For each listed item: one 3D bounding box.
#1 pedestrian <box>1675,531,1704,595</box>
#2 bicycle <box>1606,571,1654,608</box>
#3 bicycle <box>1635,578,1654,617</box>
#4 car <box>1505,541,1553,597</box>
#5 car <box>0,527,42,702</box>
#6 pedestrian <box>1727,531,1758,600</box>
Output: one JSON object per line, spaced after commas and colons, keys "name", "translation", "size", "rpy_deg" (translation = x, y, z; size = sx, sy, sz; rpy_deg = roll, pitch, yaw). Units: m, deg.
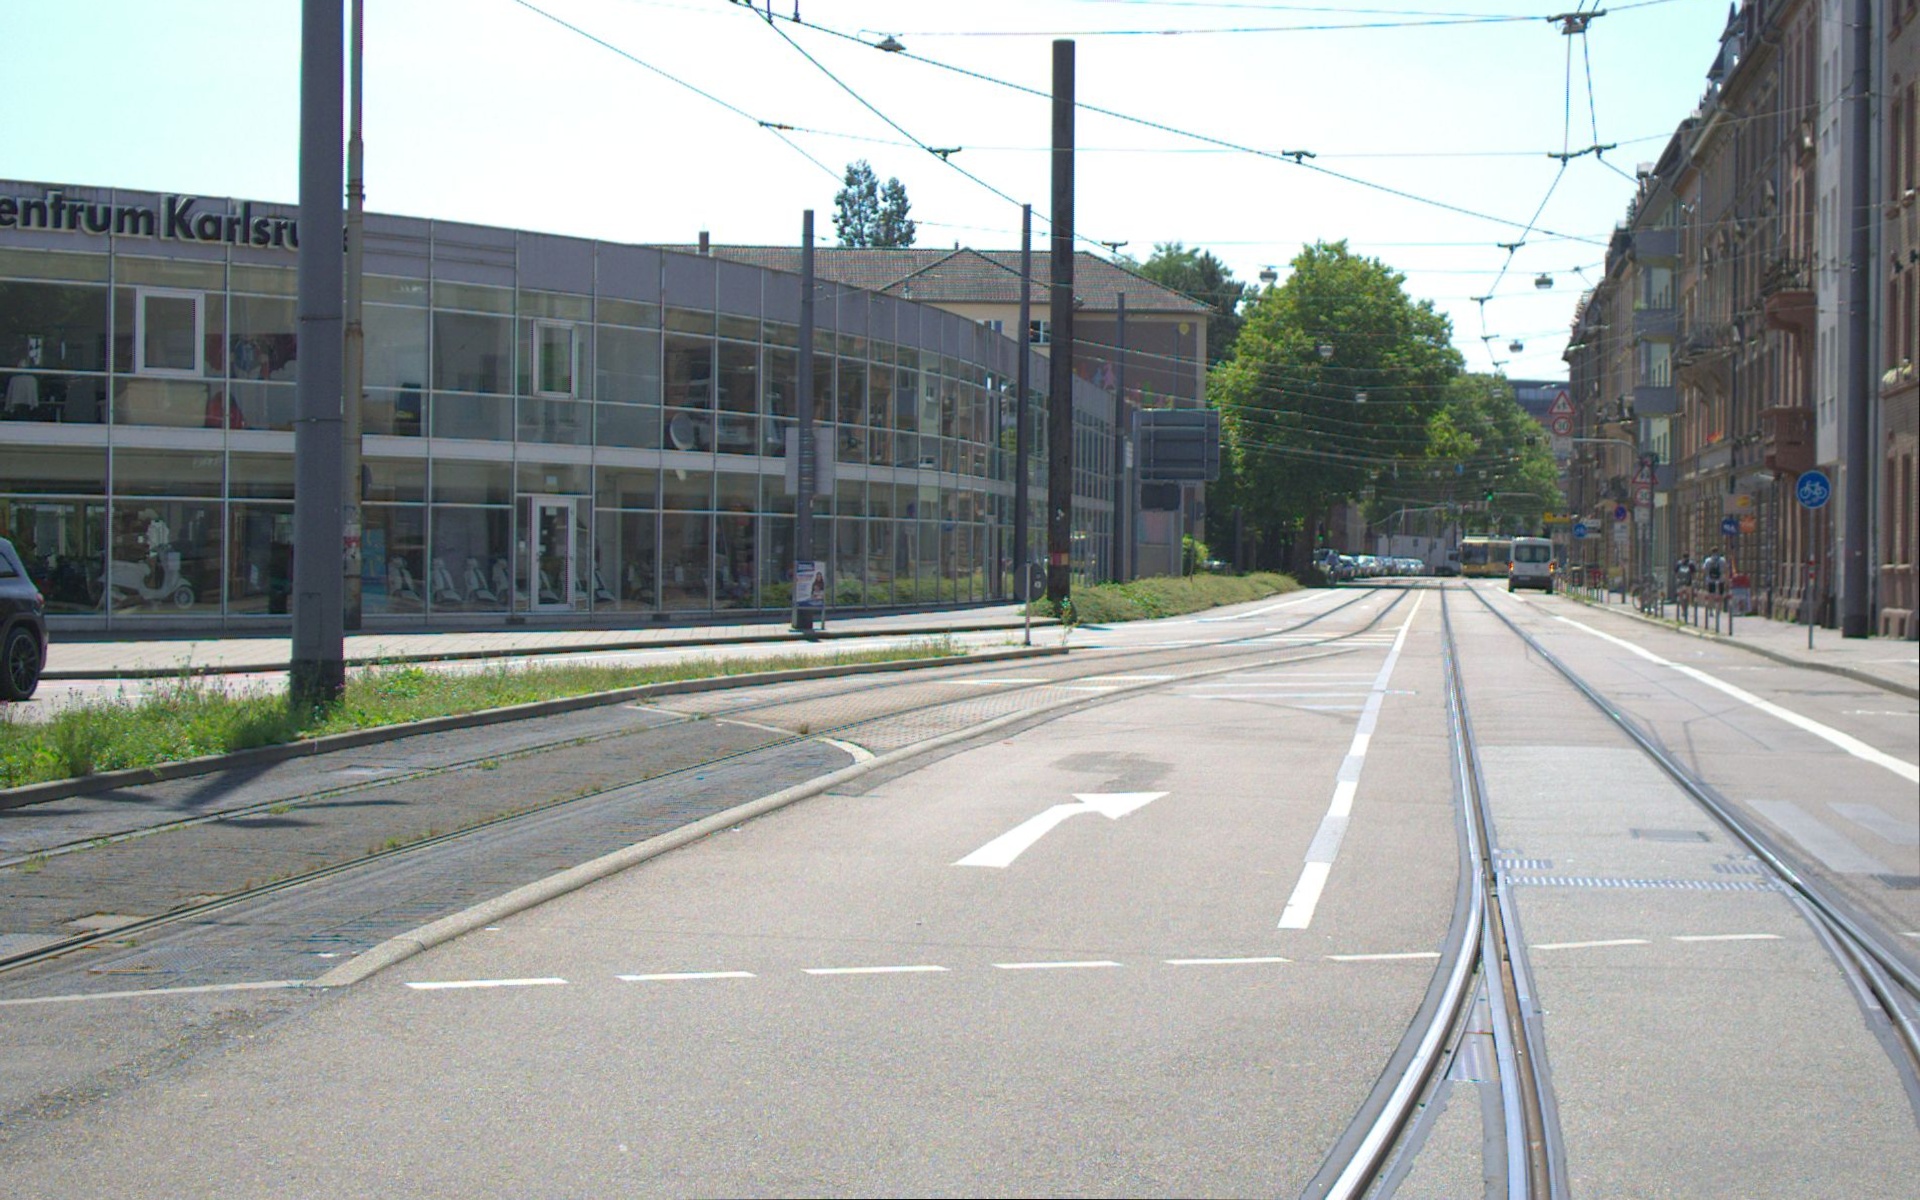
{"name": "pedestrian", "translation": [19.796, -1.008, 93.273], "size": [0.720, 1.714, 0.643], "rpy_deg": [1, 1, 9]}
{"name": "bicycle", "translation": [20.594, -0.327, 105.639], "size": [0.500, 1.127, 2.238], "rpy_deg": [1, 1, 37]}
{"name": "bicycle", "translation": [19.605, -0.082, 98.444], "size": [0.448, 1.093, 2.421], "rpy_deg": [0, 1, 14]}
{"name": "car", "translation": [26.430, -1.450, 159.790], "size": [2.068, 2.492, 5.452], "rpy_deg": [2, 1, 9]}
{"name": "car", "translation": [-10.093, 0.155, 30.727], "size": [1.823, 1.621, 4.523], "rpy_deg": [0, 1, 11]}
{"name": "pedestrian", "translation": [21.128, -0.930, 92.828], "size": [0.702, 1.842, 0.643], "rpy_deg": [-3, 0, 9]}
